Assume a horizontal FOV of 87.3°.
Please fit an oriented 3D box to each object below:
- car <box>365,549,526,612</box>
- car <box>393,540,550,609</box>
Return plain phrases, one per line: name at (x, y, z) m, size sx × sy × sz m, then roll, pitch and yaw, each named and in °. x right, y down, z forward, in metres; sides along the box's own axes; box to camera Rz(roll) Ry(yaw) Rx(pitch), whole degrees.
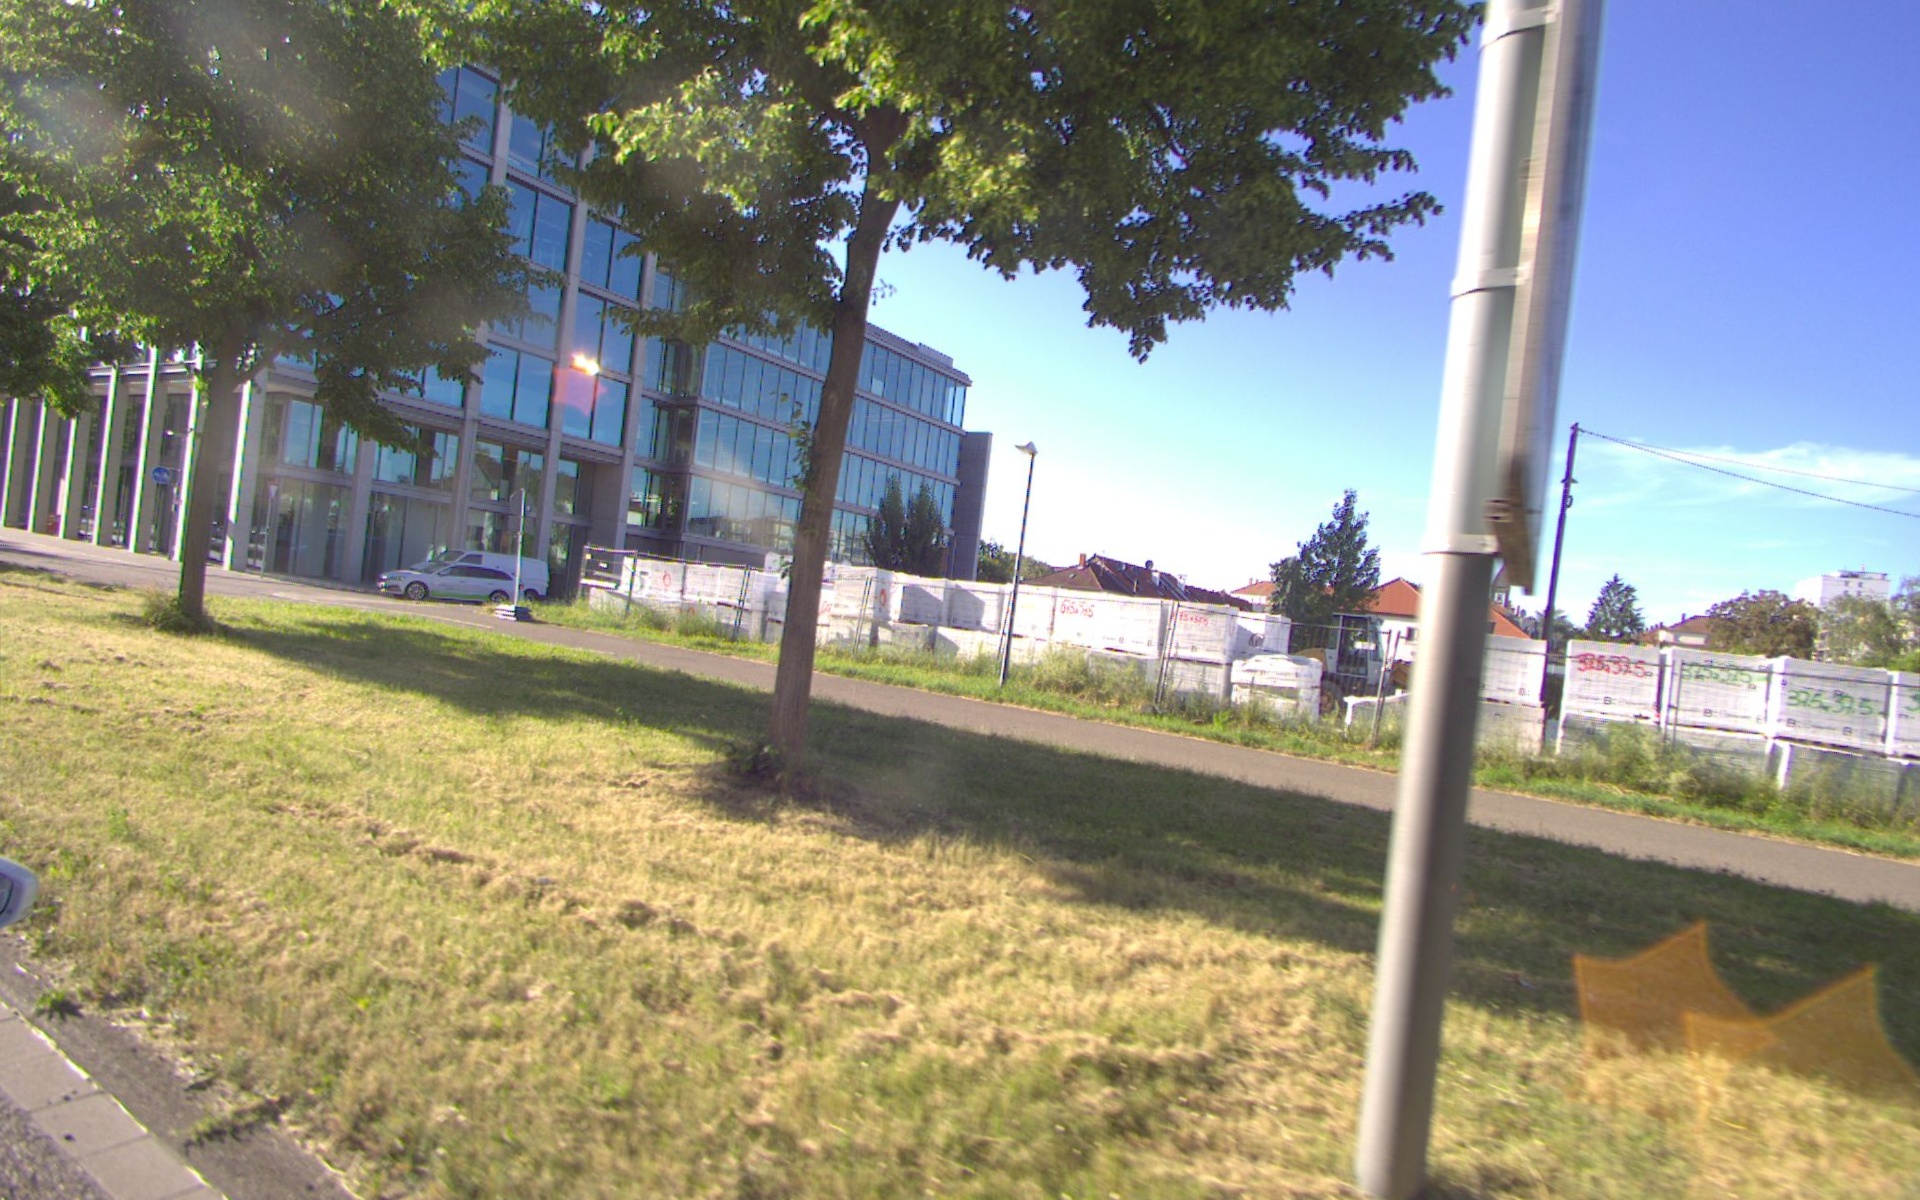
car at (-17.598, -0.637, 34.540) m, size 1.751 × 1.408 × 4.506 m, roll 6°, pitch -3°, yaw 44°
car at (-18.895, -0.928, 39.157) m, size 1.907 × 2.005 × 5.072 m, roll 7°, pitch -1°, yaw 33°
